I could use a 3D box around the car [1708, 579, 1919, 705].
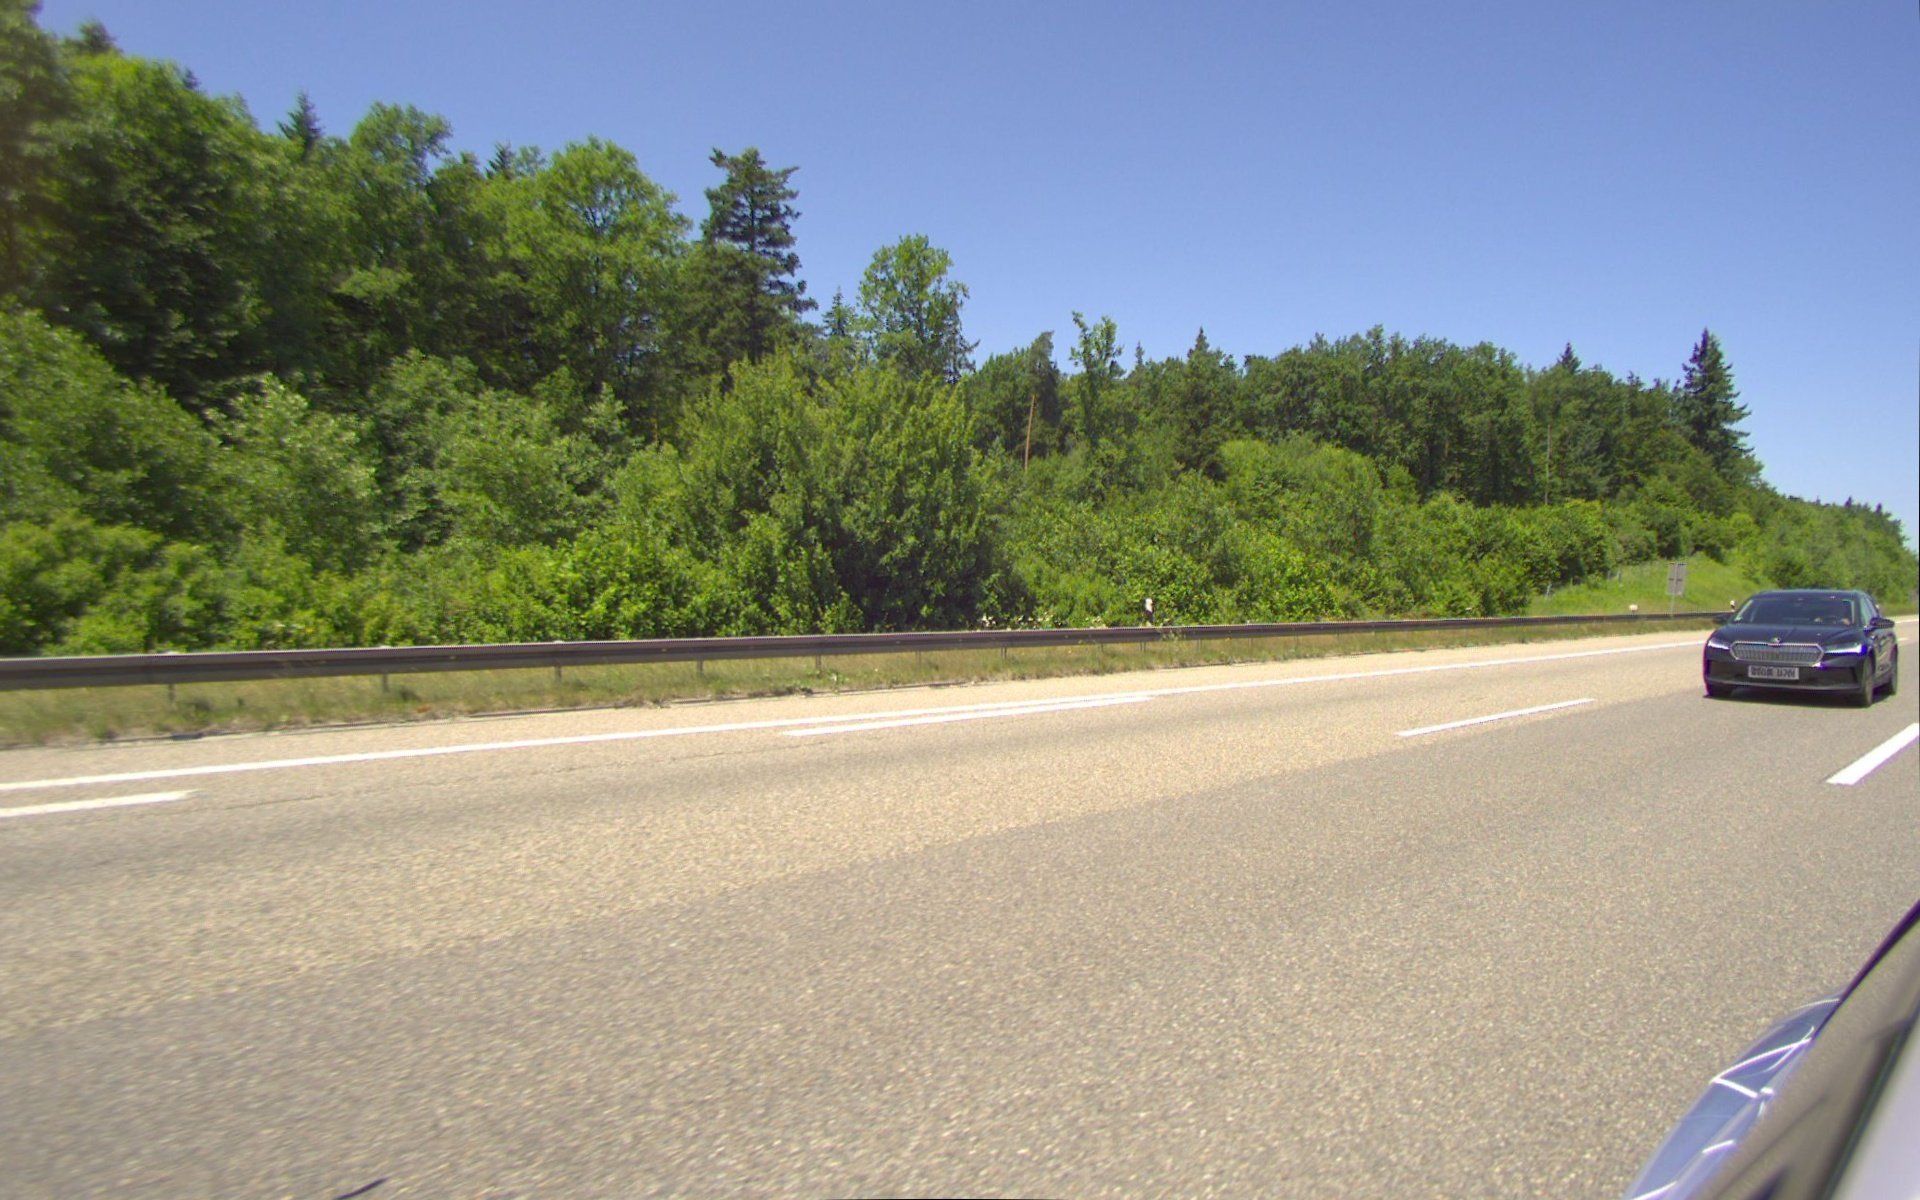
[{"bbox_3d":[13.147,0.549,15.284,4.377,1.639,1.989,0,0,-39],"label":"car"}]
